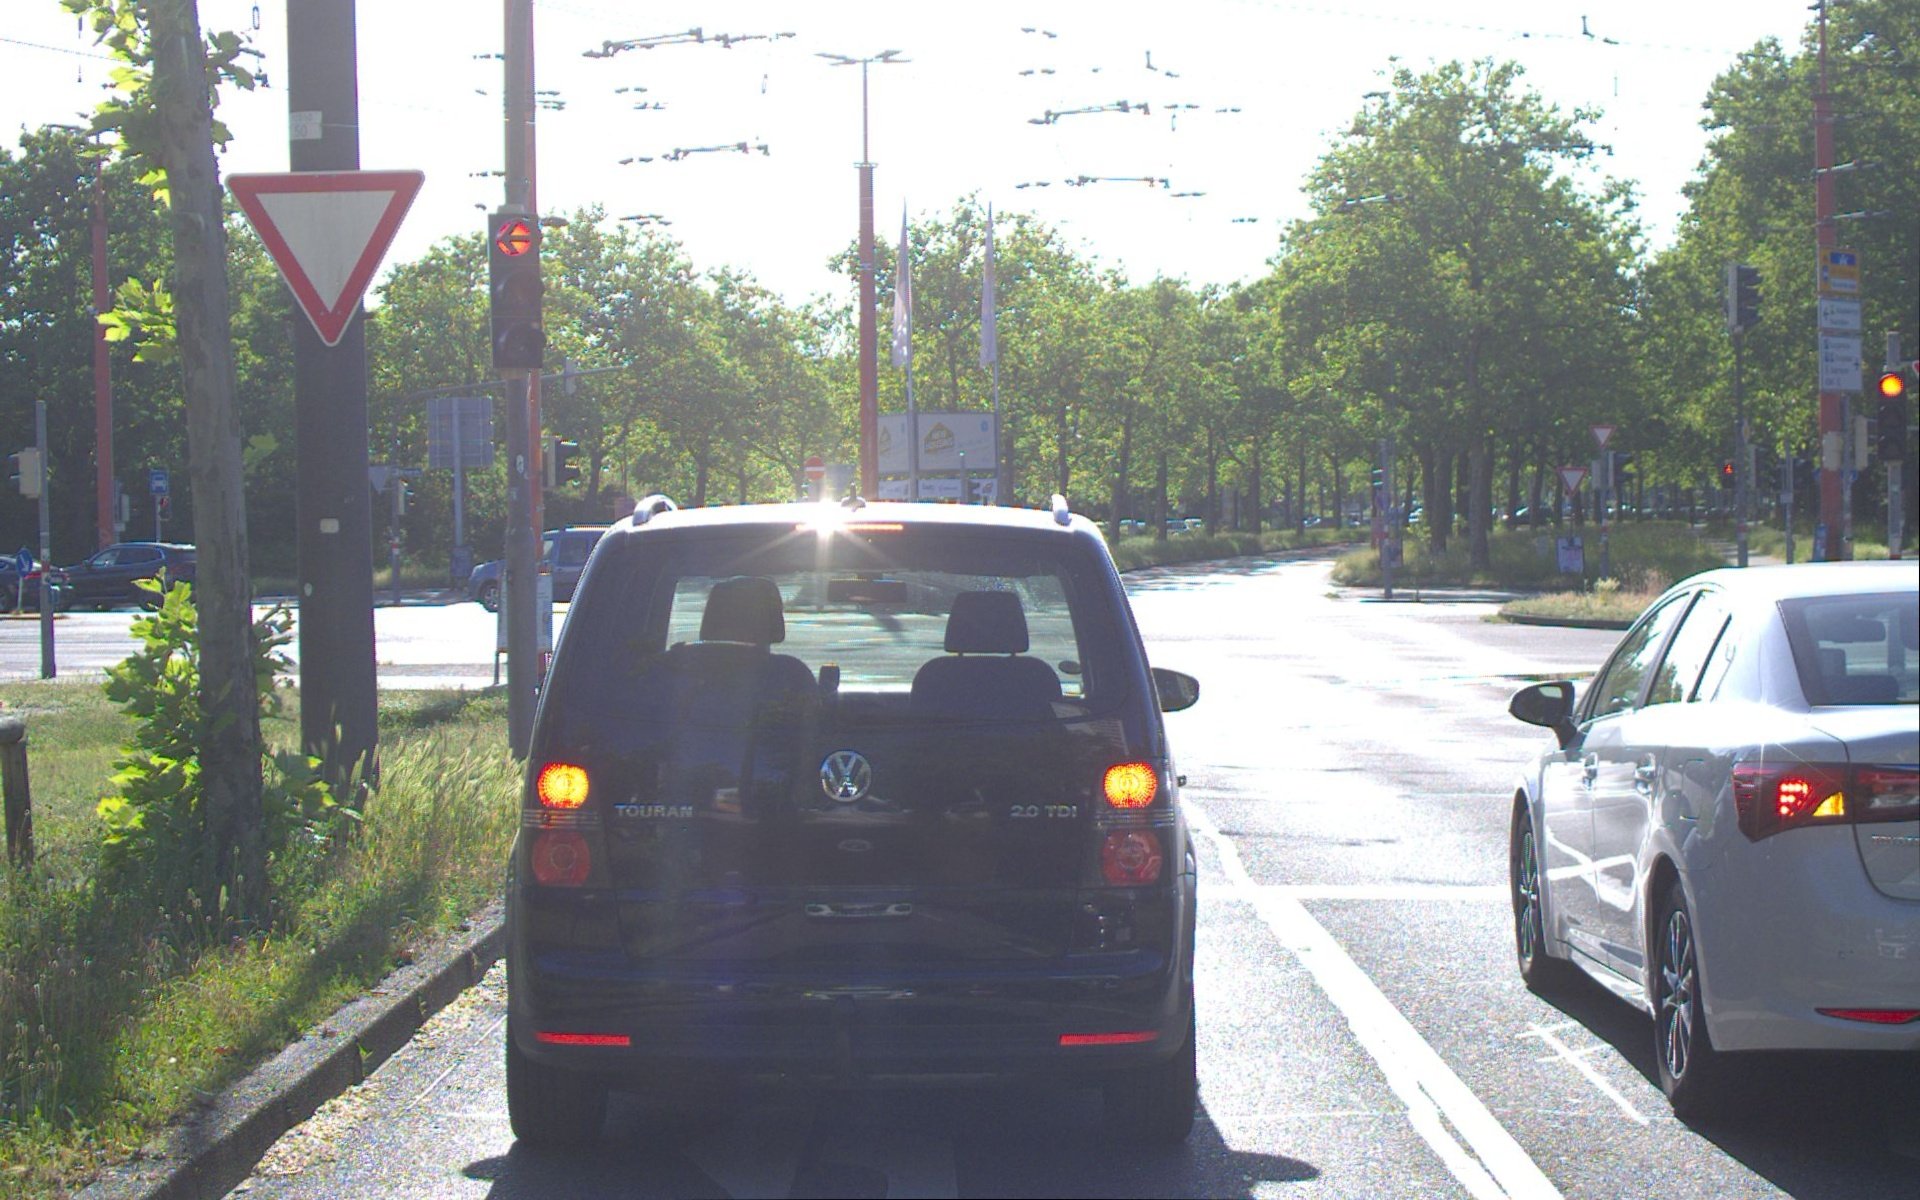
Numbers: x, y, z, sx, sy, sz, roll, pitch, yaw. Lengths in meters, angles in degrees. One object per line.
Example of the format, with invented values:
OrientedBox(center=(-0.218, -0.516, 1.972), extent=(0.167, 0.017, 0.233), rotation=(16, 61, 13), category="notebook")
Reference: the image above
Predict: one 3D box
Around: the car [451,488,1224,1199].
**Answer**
OrientedBox(center=(-0.260, 0.534, 9.984), extent=(1.738, 1.597, 4.326), rotation=(1, 1, 1), category="car")

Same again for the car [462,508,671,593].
OrientedBox(center=(-8.450, -1.067, 73.884), extent=(4.124, 1.784, 1.796), rotation=(1, 1, 24), category="car")

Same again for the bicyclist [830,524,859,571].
OrientedBox(center=(-4.660, -2.131, 138.675), extent=(0.976, 1.897, 1.050), rotation=(0, 1, 7), category="bicyclist")

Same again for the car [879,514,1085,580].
OrientedBox(center=(0.469, -1.152, 74.117), extent=(4.124, 1.398, 1.654), rotation=(1, 1, 25), category="car")

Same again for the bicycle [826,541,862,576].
OrientedBox(center=(-4.667, -1.682, 138.641), extent=(0.976, 1.384, 2.979), rotation=(0, 1, 7), category="bicycle")

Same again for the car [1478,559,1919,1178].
OrientedBox(center=(2.750, 0.615, 10.162), extent=(1.799, 1.435, 4.326), rotation=(1, 1, 1), category="car")

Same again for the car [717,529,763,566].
OrientedBox(center=(-8.326, -1.997, 130.442), extent=(1.651, 1.398, 4.133), rotation=(0, 1, -3), category="car")

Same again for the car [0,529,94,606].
OrientedBox(center=(-22.661, -0.785, 81.105), extent=(4.124, 1.784, 1.796), rotation=(1, 1, 24), category="car")

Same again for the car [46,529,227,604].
OrientedBox(center=(-20.159, -0.830, 84.157), extent=(4.124, 1.784, 1.796), rotation=(1, 1, 26), category="car")
